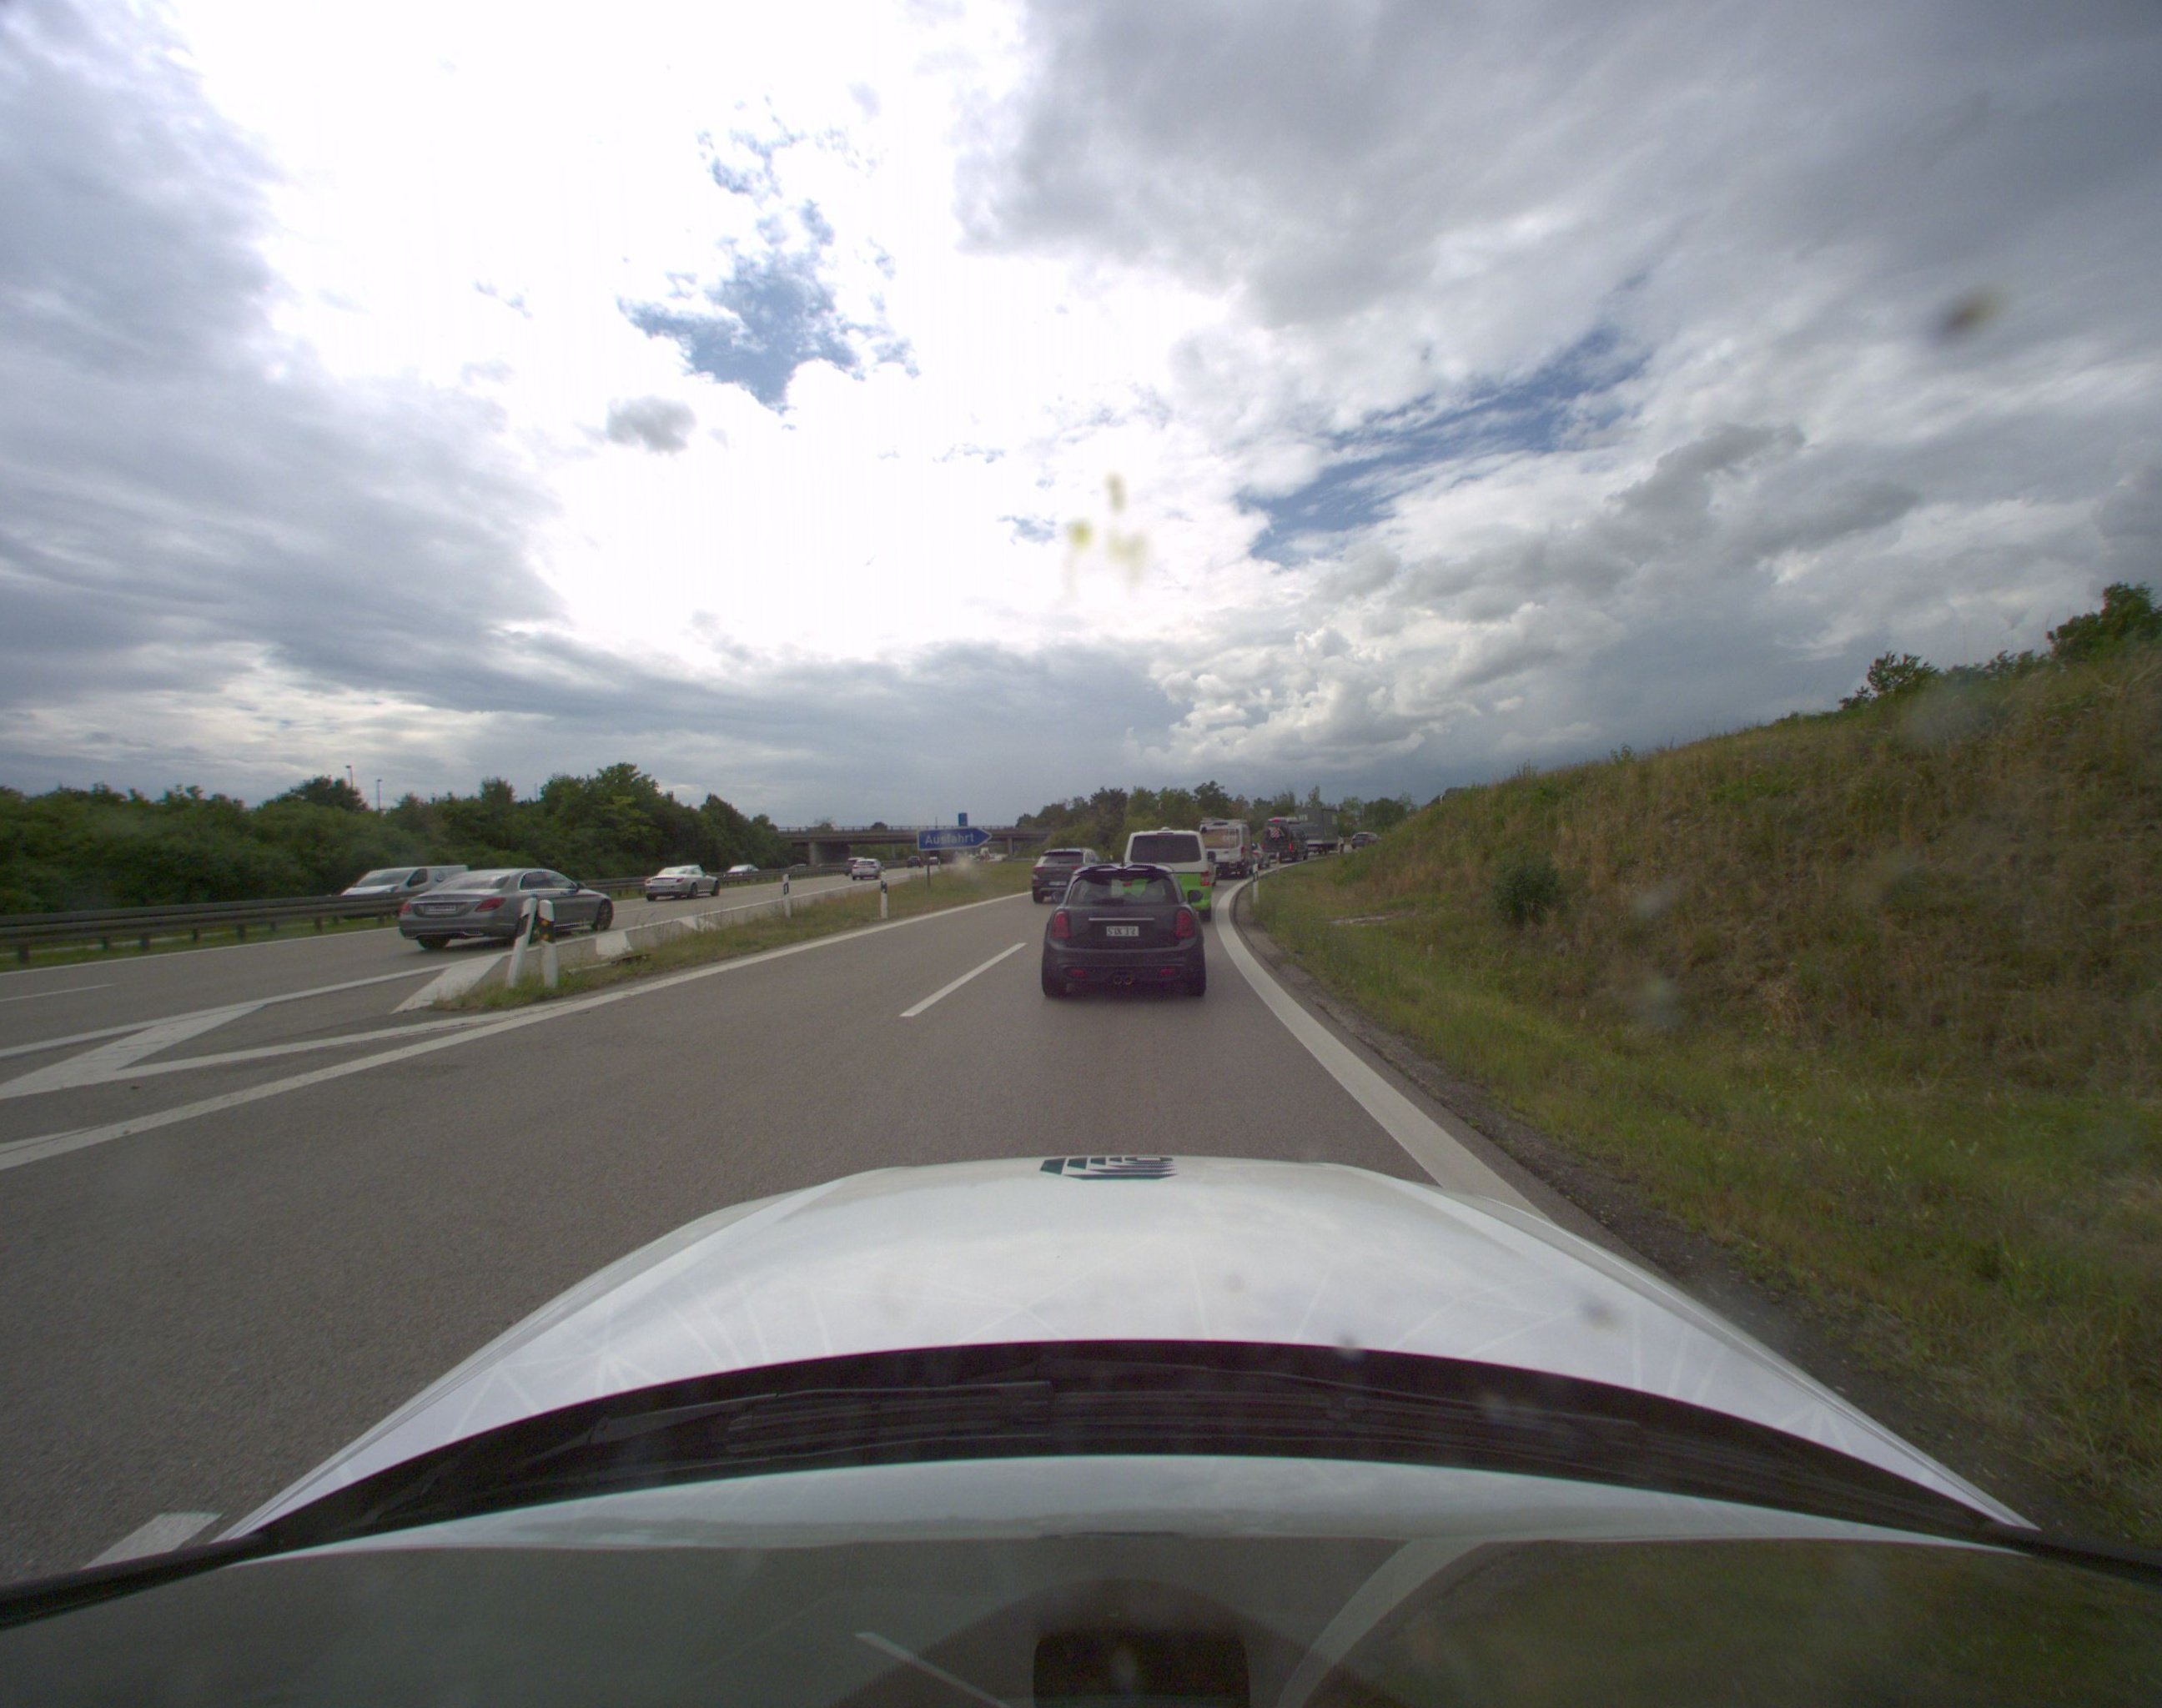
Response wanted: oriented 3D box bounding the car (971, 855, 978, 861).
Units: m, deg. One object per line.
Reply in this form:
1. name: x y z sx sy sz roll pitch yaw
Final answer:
1. car: -34.018 1.228 260.250 1.989 1.968 3.996 0 -1 -3

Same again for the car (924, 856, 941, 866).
1. car: -25.992 1.261 142.614 2.155 1.670 4.302 -2 0 -3

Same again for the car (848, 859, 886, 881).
1. car: -15.044 1.111 57.409 1.776 1.398 4.025 -2 0 -3

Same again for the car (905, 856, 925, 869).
1. car: -23.850 1.207 117.295 2.091 1.670 4.302 -2 0 -3

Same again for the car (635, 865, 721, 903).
1. car: -16.877 1.209 34.345 1.777 1.398 4.297 -2 0 -6

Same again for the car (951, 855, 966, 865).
1. car: -21.927 1.120 145.525 2.091 1.670 4.302 -2 0 -3

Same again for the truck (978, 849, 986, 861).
1. truck: -29.074 0.286 240.335 2.142 3.507 3.994 0 -1 -4

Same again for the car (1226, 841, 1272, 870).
1. car: 9.390 0.059 45.300 1.850 1.510 4.021 -1 0 20

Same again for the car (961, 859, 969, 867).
1. car: -30.029 2.252 211.290 1.991 2.013 3.991 -2 0 -7

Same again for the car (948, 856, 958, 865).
1. car: -29.026 1.434 184.864 2.066 2.014 3.991 0 -1 -6

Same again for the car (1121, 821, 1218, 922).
1. car: 2.110 0.356 18.395 1.772 2.013 4.013 -1 0 11

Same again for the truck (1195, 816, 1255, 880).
1. truck: 6.646 -0.301 37.161 2.162 2.658 5.130 -2 1 15

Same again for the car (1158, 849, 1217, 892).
1. car: 3.875 0.538 29.145 1.750 1.398 3.738 -2 0 12

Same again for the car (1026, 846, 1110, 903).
1. car: -0.290 0.597 24.625 1.785 1.556 3.972 -1 -1 10

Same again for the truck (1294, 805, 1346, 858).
1. truck: 18.564 -1.643 63.056 2.207 3.906 6.054 -1 -1 33

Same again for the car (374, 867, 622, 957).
1. car: -11.155 1.015 16.071 1.776 1.398 4.545 -2 0 -4

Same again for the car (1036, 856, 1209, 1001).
1. car: 0.531 0.751 10.045 1.720 1.413 3.729 -1 0 3

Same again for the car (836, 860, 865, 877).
1. car: -21.049 1.315 74.512 1.778 1.398 4.297 -2 0 -6

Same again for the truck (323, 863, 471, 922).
1. truck: -26.393 1.410 31.695 1.991 2.013 4.710 -2 0 -5

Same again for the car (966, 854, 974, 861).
1. car: -32.208 1.014 236.659 1.989 1.968 3.996 0 -1 -3

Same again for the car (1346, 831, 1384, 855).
1. car: 25.324 -0.955 72.563 1.974 2.014 4.025 -1 -1 37

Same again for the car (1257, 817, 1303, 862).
1. car: 12.937 -0.915 52.694 2.085 2.796 4.024 -1 1 25
